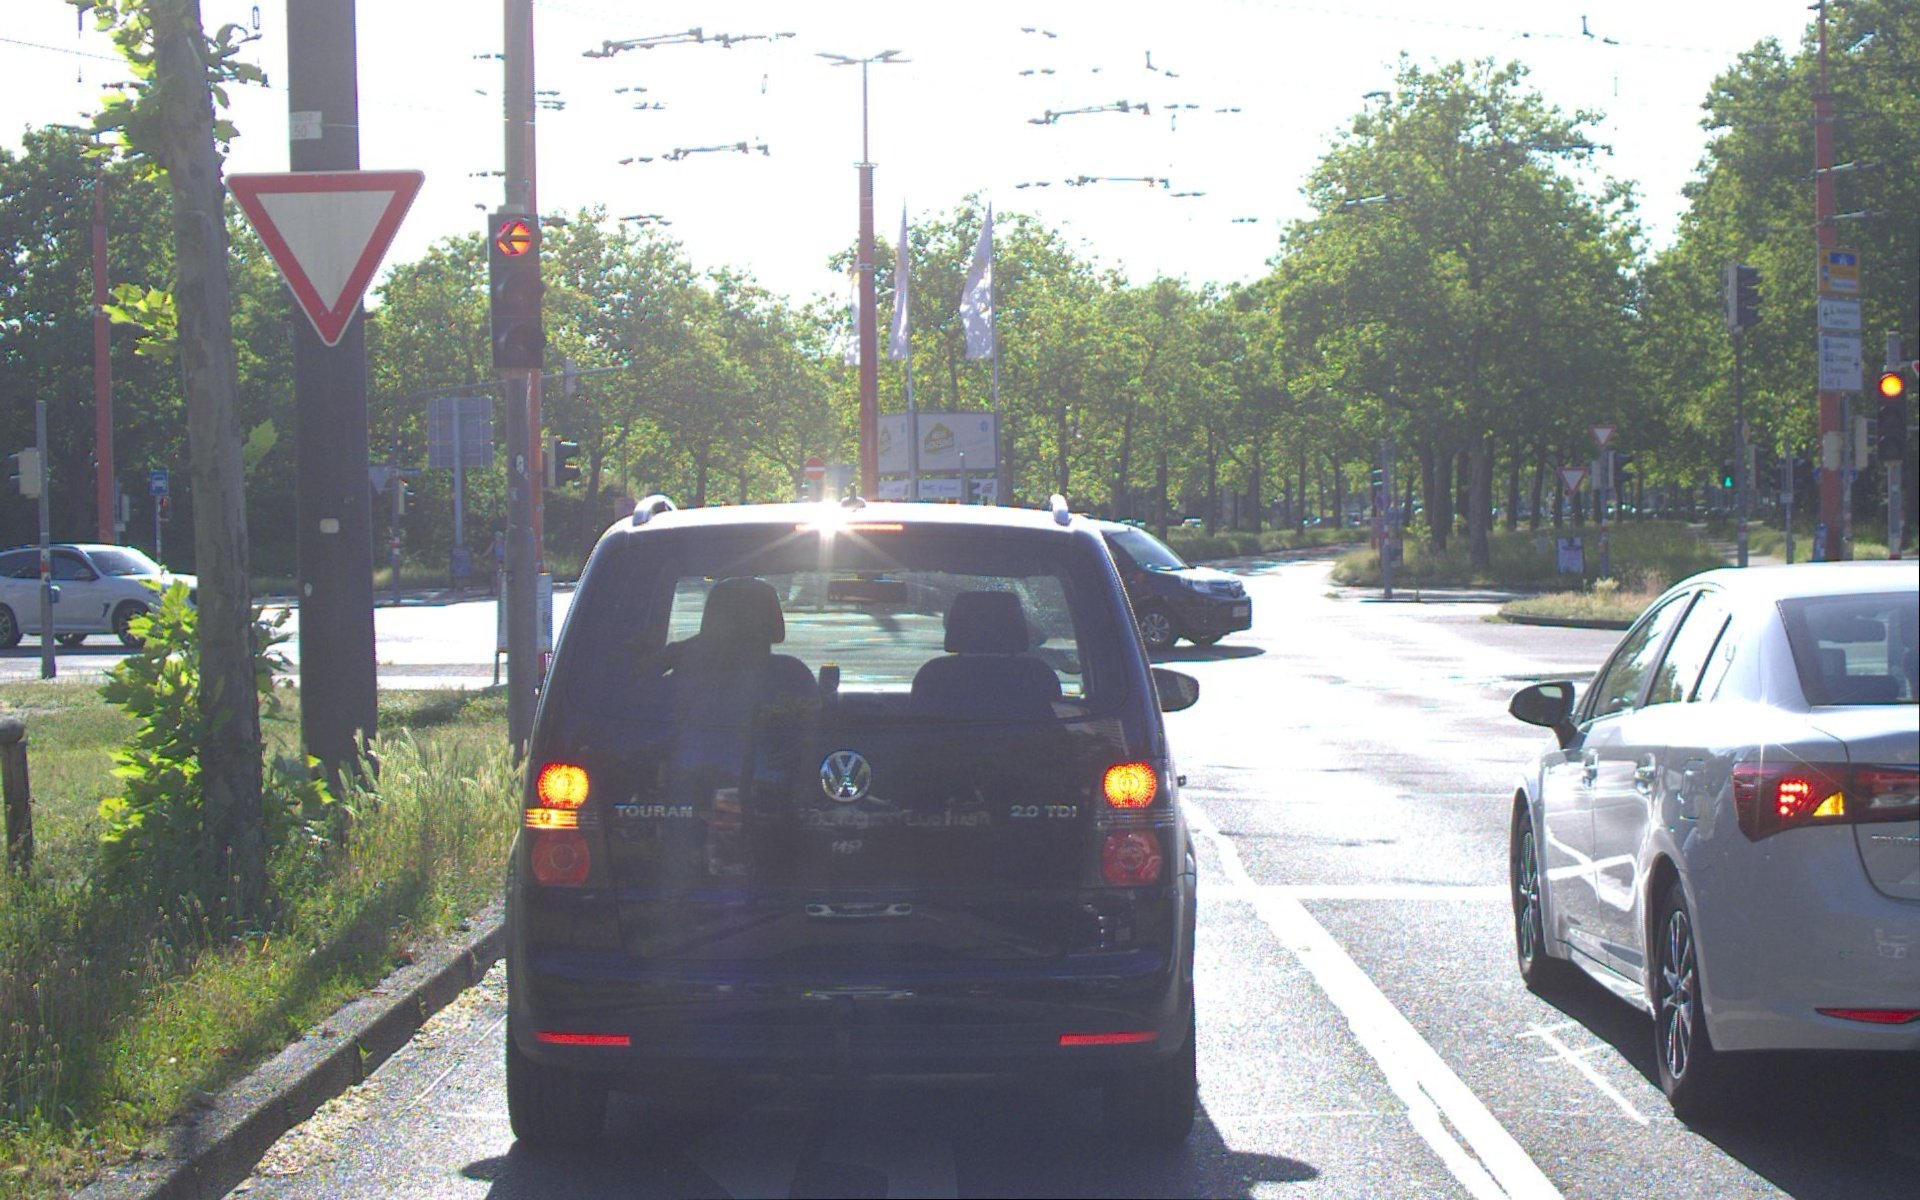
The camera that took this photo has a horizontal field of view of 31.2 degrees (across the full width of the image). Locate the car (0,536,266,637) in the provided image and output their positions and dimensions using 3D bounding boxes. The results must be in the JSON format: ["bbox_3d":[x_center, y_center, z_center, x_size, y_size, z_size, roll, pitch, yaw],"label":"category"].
[{"bbox_3d":[-13.856,-0.233,56.172,4.787,1.592,1.911,0,1,27],"label":"car"}]

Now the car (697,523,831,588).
[{"bbox_3d":[-5.211,-1.203,91.987,1.995,1.679,4.825,0,1,17],"label":"car"}]

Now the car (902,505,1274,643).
[{"bbox_3d":[1.756,-0.362,47.531,4.787,1.829,1.911,0,1,27],"label":"car"}]

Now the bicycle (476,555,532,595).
[{"bbox_3d":[-12.522,-0.685,94.419,0.735,1.086,1.959,0,1,18],"label":"bicycle"}]

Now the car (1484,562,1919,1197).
[{"bbox_3d":[2.687,0.630,10.079,1.715,1.449,4.144,0,1,1],"label":"car"}]

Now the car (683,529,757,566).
[{"bbox_3d":[-8.526,-1.887,122.555,1.658,1.305,3.813,0,1,12],"label":"car"}]

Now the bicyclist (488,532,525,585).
[{"bbox_3d":[-12.491,-1.153,94.630,0.693,1.452,0.874,0,1,18],"label":"bicyclist"}]

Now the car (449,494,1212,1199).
[{"bbox_3d":[-0.317,0.545,9.878,1.737,1.635,4.000,0,1,-1],"label":"car"}]
